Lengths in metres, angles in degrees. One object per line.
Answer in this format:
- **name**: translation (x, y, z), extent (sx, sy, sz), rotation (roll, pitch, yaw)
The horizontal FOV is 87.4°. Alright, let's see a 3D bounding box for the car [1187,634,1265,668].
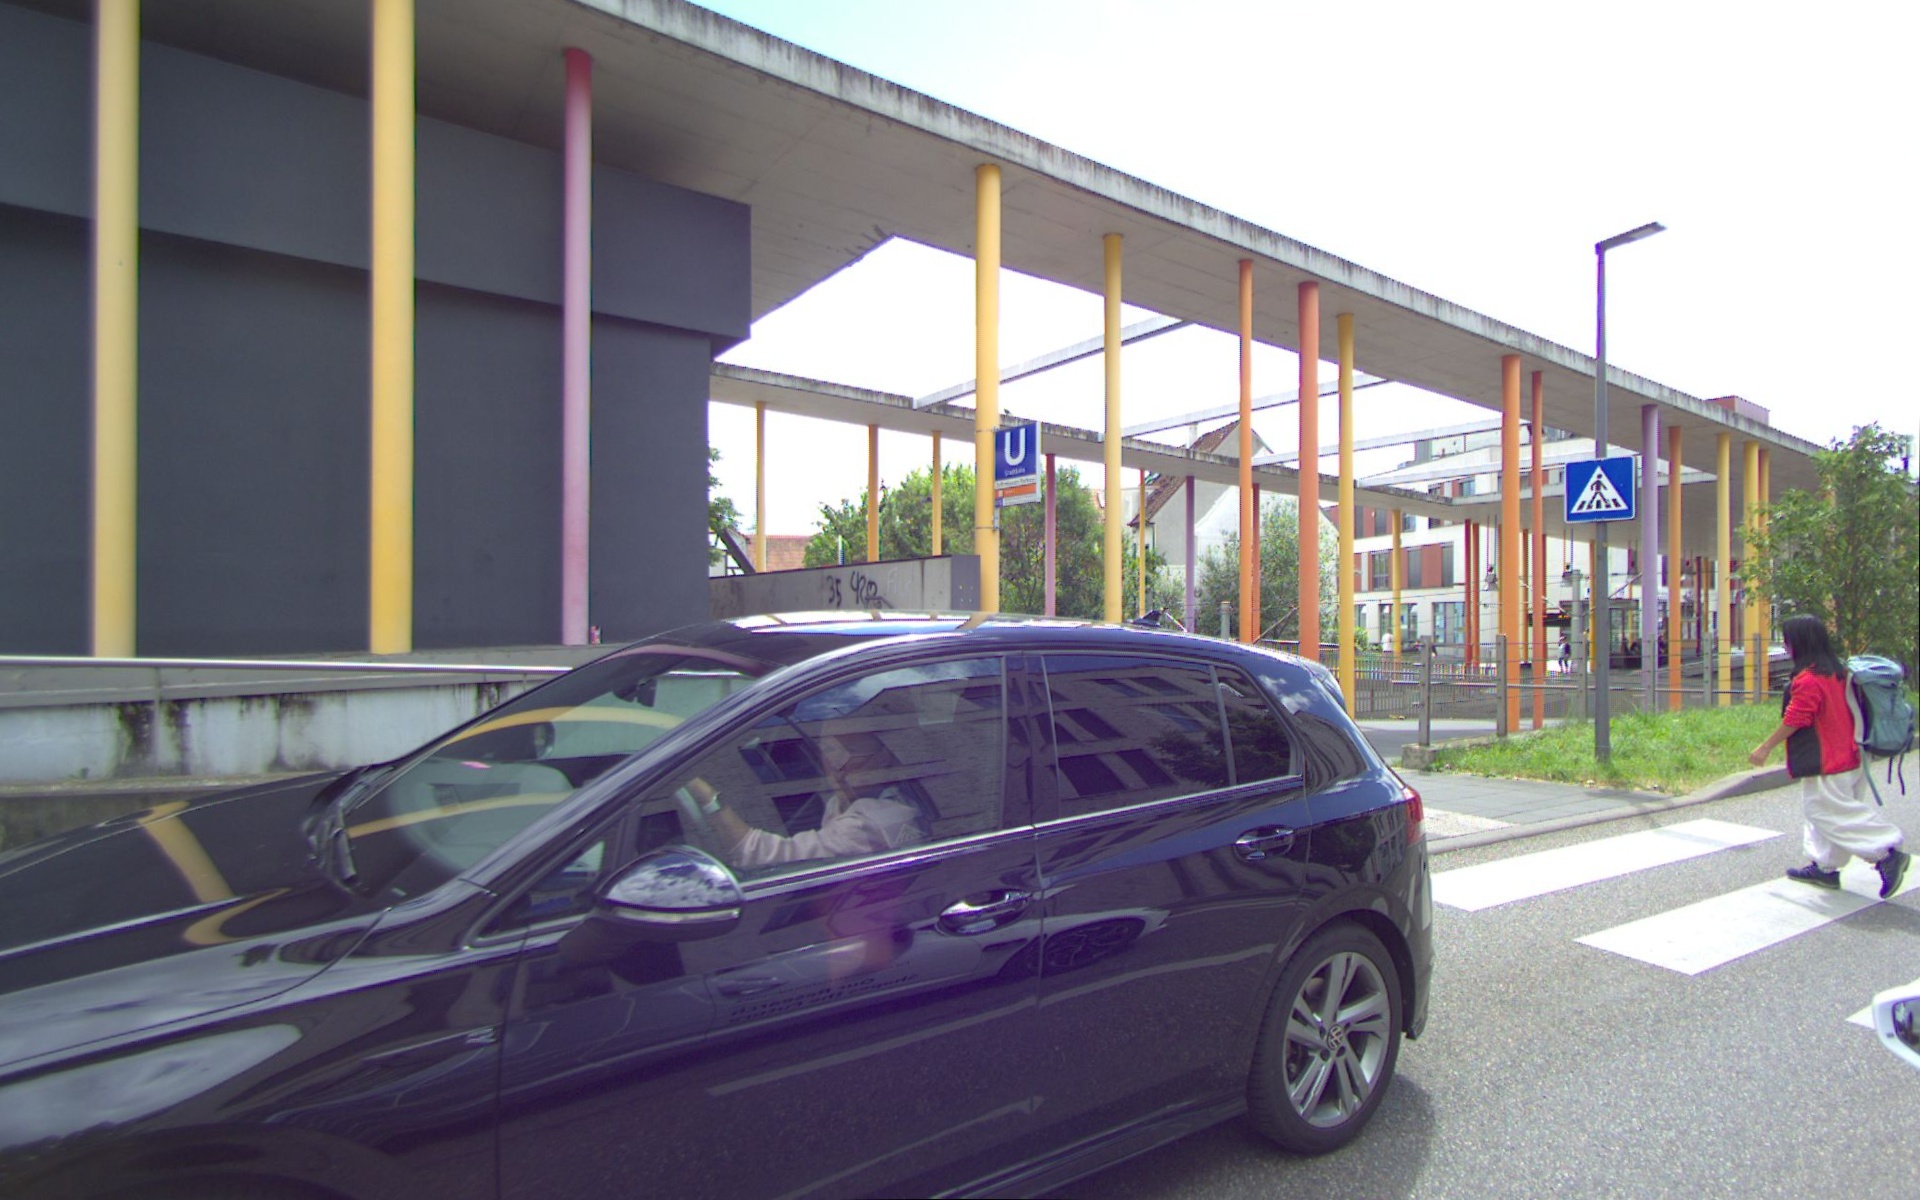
- **car**: translation (12.498, 2.382, 47.486), extent (1.547, 1.355, 3.981), rotation (3, -1, -20)

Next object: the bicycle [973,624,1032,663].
- **bicycle**: translation (1.522, 1.547, 35.734), extent (2.031, 1.286, 0.530), rotation (3, -1, -23)

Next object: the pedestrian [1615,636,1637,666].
- **pedestrian**: translation (32.150, 2.475, 48.478), extent (0.695, 1.398, 0.647), rotation (-1, 1, -35)

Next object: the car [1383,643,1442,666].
- **car**: translation (29.623, 3.594, 65.888), extent (1.619, 1.342, 3.711), rotation (2, -4, -12)

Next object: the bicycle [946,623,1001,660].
- **bicycle**: translation (0.518, 1.572, 37.942), extent (2.031, 1.286, 0.530), rotation (3, -1, -23)

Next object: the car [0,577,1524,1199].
- **car**: translation (-0.457, 0.735, 2.740), extent (4.189, 1.483, 1.762), rotation (1, 0, -34)

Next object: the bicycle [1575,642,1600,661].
- **bicycle**: translation (33.431, 2.738, 53.518), extent (1.596, 0.975, 0.481), rotation (3, -1, -34)

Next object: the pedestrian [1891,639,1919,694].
- **pedestrian**: translation (32.990, 2.317, 35.040), extent (0.703, 1.854, 0.583), rotation (3, -1, -34)

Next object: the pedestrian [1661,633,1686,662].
- **pedestrian**: translation (35.481, 2.352, 49.972), extent (0.695, 1.398, 0.817), rotation (-1, 1, -35)

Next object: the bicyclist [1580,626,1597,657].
- **bicyclist**: translation (33.517, 2.222, 53.567), extent (0.674, 1.614, 0.481), rotation (3, -1, -34)

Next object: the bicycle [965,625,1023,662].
- **bicycle**: translation (1.238, 1.573, 36.369), extent (2.031, 1.286, 0.530), rotation (3, -1, -23)

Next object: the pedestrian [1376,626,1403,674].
- **pedestrian**: translation (17.680, 2.056, 41.345), extent (0.792, 1.908, 0.637), rotation (3, -1, -36)

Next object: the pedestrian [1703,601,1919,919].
- **pedestrian**: translation (4.895, 0.823, 5.665), extent (0.808, 1.586, 0.920), rotation (3, -1, -37)

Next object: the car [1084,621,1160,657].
- **car**: translation (7.125, 1.704, 44.520), extent (1.547, 1.419, 3.981), rotation (3, -1, -20)

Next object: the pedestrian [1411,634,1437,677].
- **pedestrian**: translation (18.725, 2.240, 40.506), extent (0.723, 1.684, 0.637), rotation (3, -1, -36)

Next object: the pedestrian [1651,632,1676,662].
- **pedestrian**: translation (34.622, 2.315, 49.439), extent (0.695, 1.398, 0.817), rotation (-1, 1, -35)
